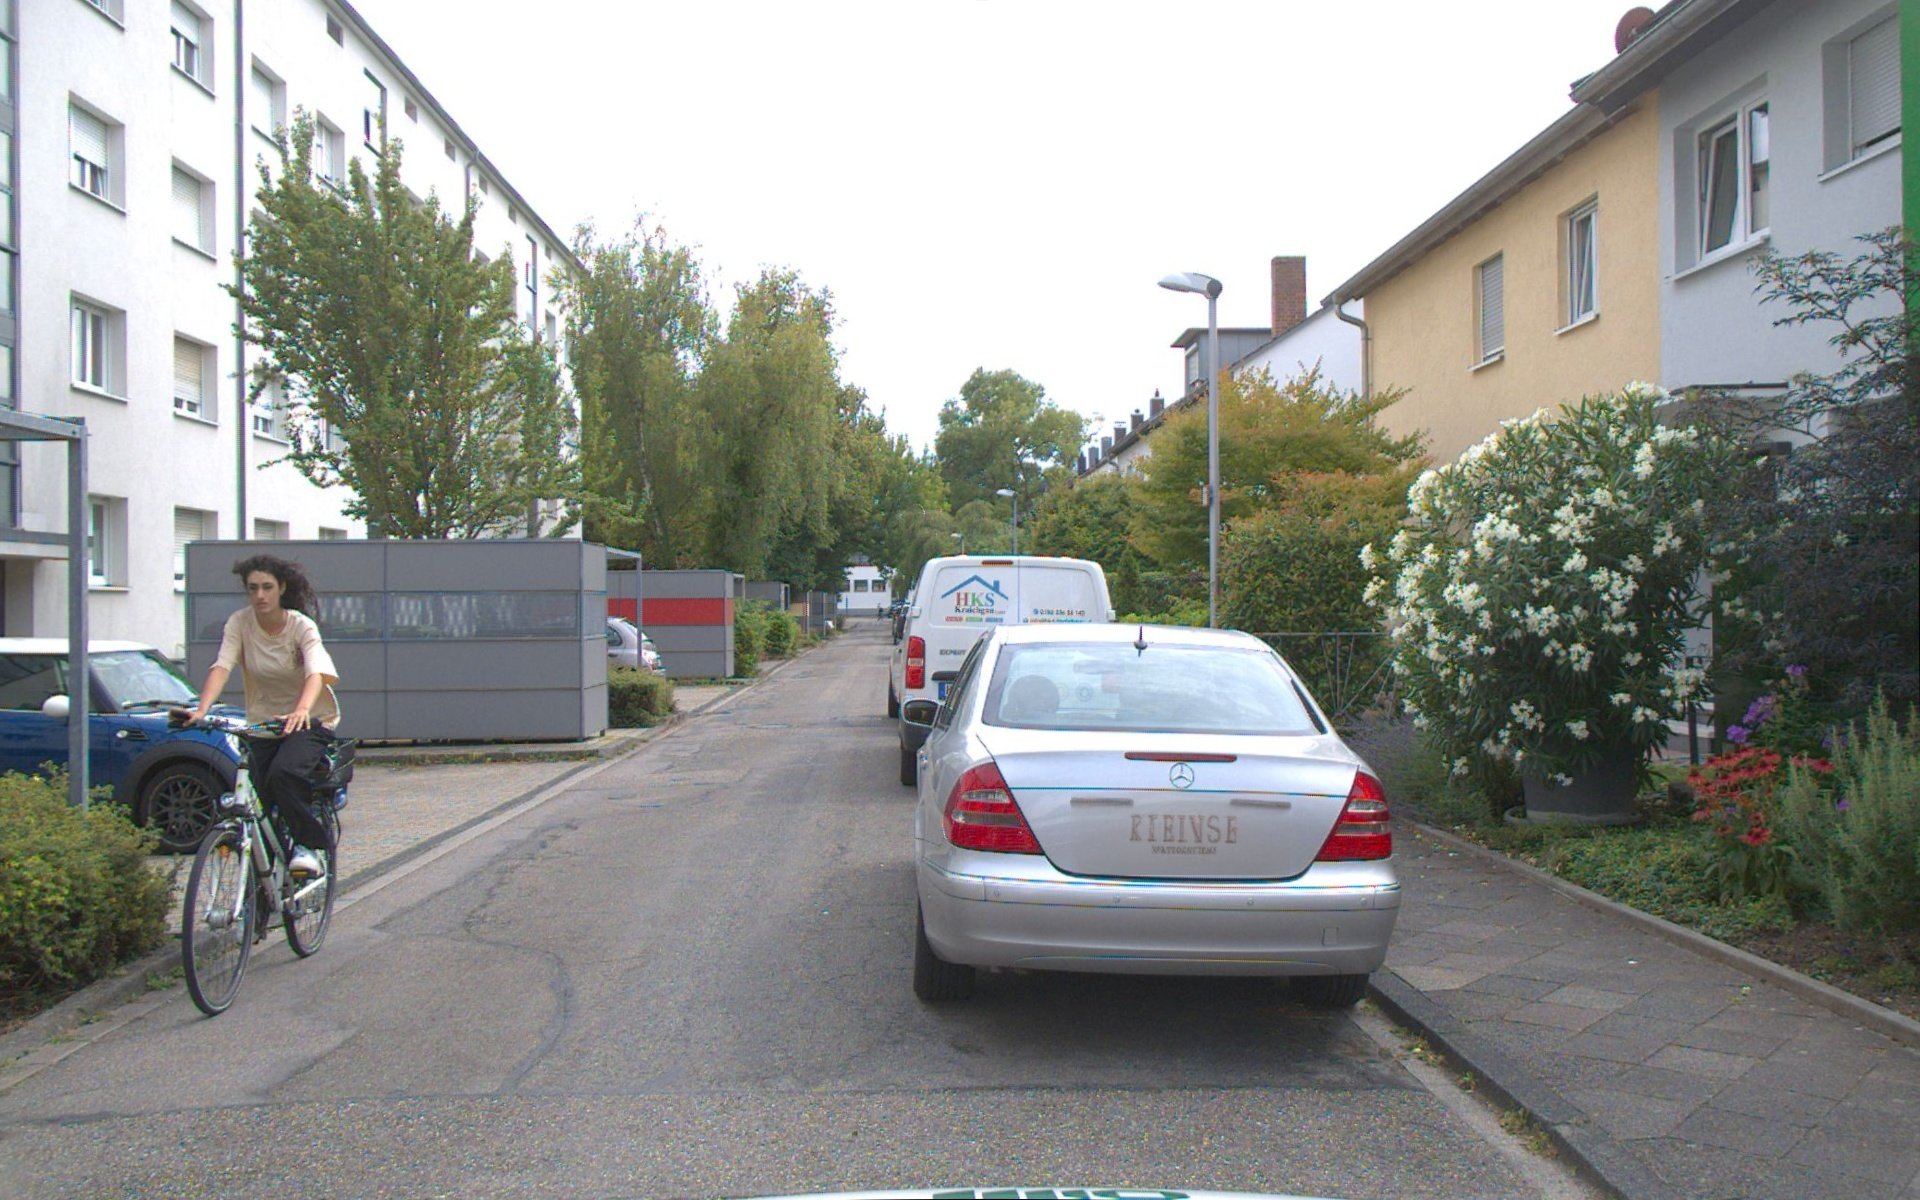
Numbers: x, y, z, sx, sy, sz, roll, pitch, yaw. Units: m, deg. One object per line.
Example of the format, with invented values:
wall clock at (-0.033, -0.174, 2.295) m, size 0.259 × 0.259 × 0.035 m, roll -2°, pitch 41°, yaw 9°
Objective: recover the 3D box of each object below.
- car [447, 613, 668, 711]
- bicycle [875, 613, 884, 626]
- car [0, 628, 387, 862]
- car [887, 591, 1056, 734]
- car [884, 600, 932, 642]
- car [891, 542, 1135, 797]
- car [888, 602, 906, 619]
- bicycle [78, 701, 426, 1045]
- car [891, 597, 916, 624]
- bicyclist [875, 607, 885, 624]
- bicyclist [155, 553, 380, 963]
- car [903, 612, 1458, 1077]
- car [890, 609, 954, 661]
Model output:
car at (-6.899, 1.050, 28.647) m, size 3.494 × 1.506 × 1.708 m, roll -2°, pitch 0°, yaw -7°
bicycle at (-7.242, 1.744, 149.730) m, size 0.675 × 1.151 × 2.579 m, roll 1°, pitch -1°, yaw 0°
car at (-6.214, 1.004, 11.898) m, size 3.560 × 1.487 × 1.653 m, roll -2°, pitch 0°, yaw 1°
car at (0.045, 0.742, 21.509) m, size 1.789 × 1.664 × 4.157 m, roll 1°, pitch 0°, yaw -5°
car at (-2.158, 0.846, 67.816) m, size 1.789 × 1.609 × 3.997 m, roll 1°, pitch 0°, yaw -4°
car at (0.310, 0.565, 15.673) m, size 1.866 × 1.999 × 5.250 m, roll 1°, pitch 0°, yaw -3°
car at (-6.266, 1.069, 165.142) m, size 1.788 × 1.609 × 3.998 m, roll 1°, pitch 0°, yaw -2°
bicycle at (-2.872, 1.042, 6.962) m, size 0.585 × 1.095 × 2.042 m, roll -2°, pitch 0°, yaw -1°
car at (-4.219, 0.785, 124.339) m, size 1.788 × 1.916 × 3.998 m, roll 1°, pitch 0°, yaw -2°
bicyclist at (-7.234, 1.417, 149.716) m, size 0.782 × 1.537 × 0.934 m, roll 1°, pitch -1°, yaw 0°
bicyclist at (-2.887, 0.627, 6.956) m, size 0.585 × 1.608 × 0.767 m, roll -2°, pitch 0°, yaw -1°
car at (0.671, 0.791, 7.456) m, size 1.747 × 1.445 × 4.454 m, roll 1°, pitch 0°, yaw -1°
car at (-1.137, 0.997, 48.871) m, size 1.788 × 1.394 × 4.329 m, roll 1°, pitch 0°, yaw -2°
